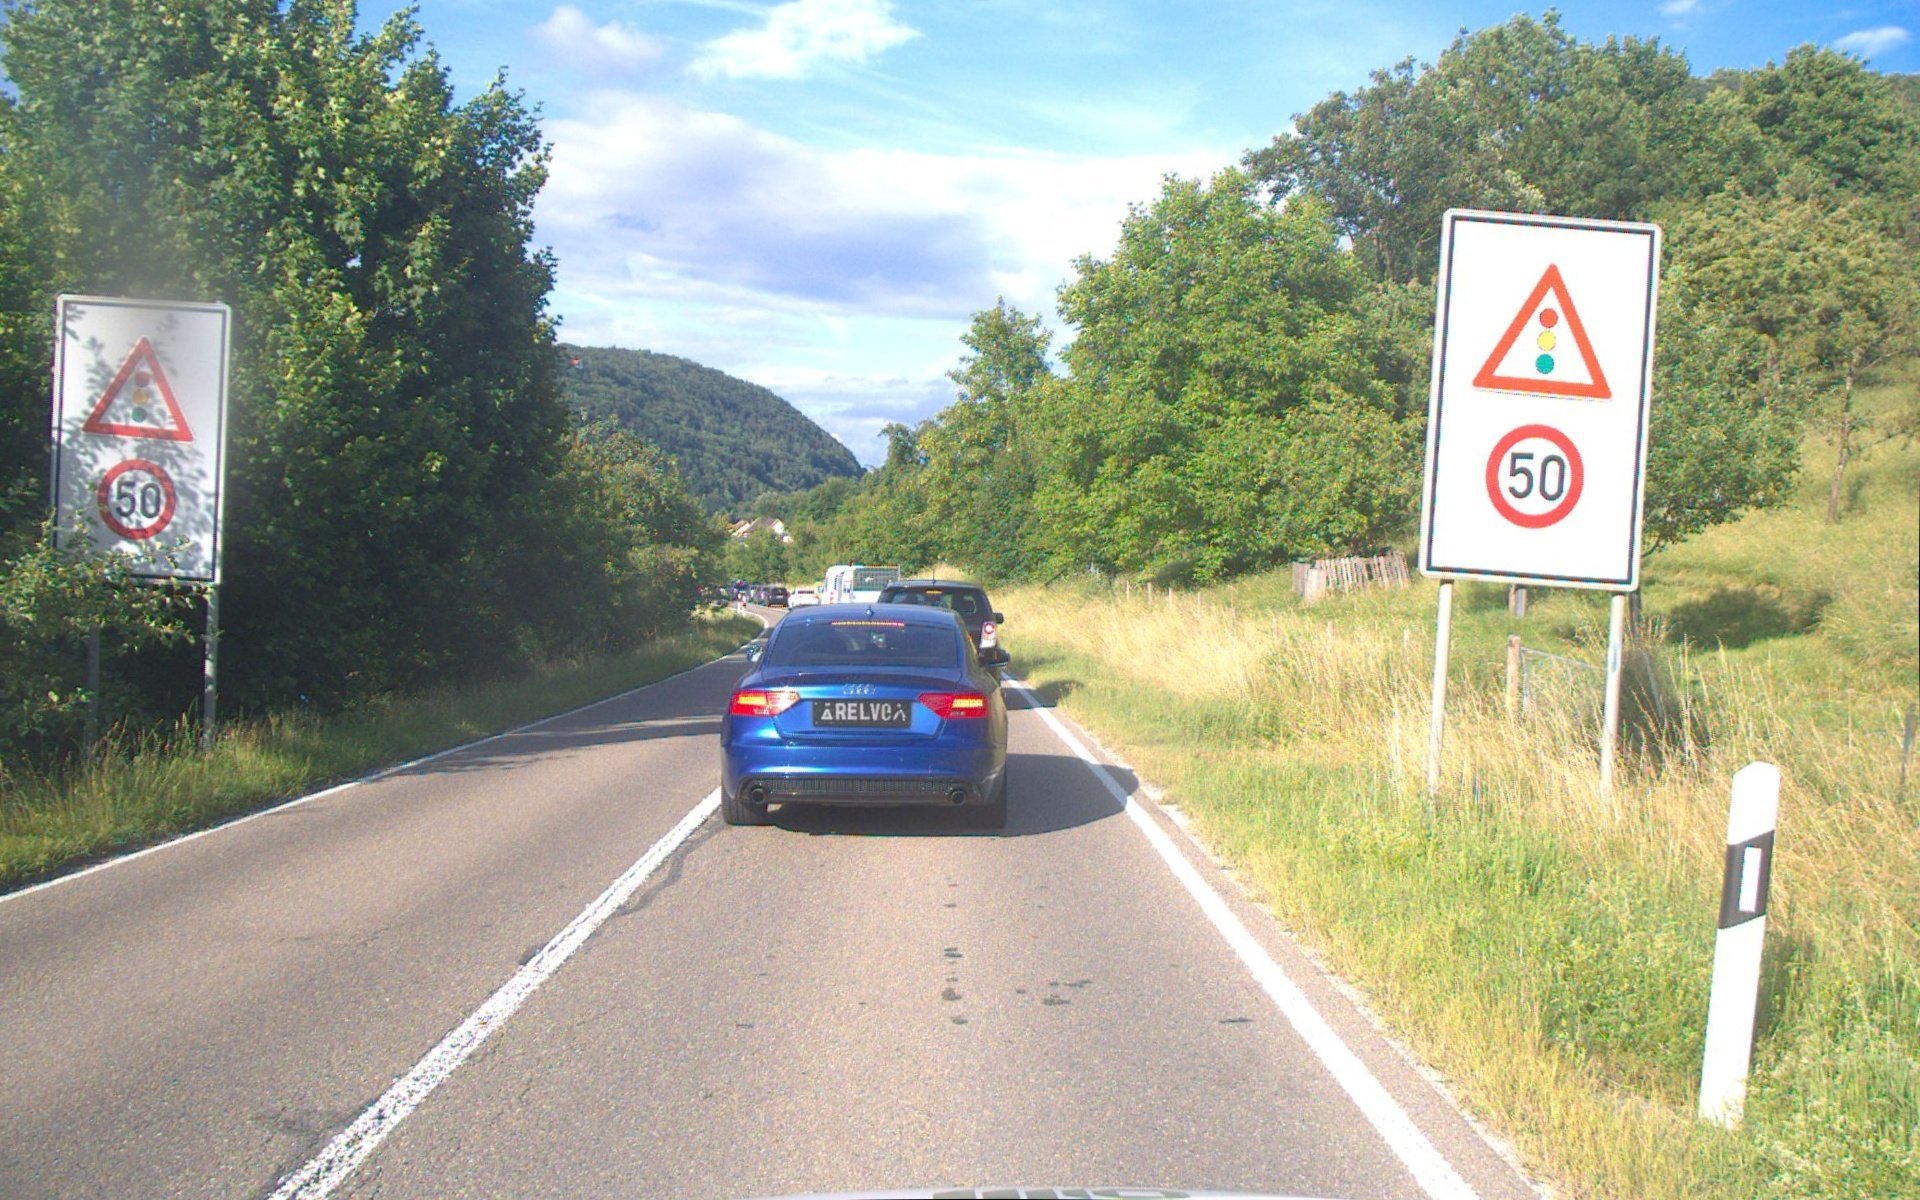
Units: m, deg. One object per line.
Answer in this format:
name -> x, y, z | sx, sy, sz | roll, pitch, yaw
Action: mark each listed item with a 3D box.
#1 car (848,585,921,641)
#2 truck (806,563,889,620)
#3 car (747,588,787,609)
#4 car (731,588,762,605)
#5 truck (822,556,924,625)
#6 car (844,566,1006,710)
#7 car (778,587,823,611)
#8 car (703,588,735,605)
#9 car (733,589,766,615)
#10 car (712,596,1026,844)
car -> -2.110, 0.361, 47.315 | 1.953, 1.508, 3.999 | 1, 0, -1
truck -> -5.913, -0.446, 84.942 | 2.814, 2.712, 10.613 | 1, 0, -12
car -> -14.175, -0.098, 121.575 | 1.965, 1.508, 3.974 | 1, 0, -21
car -> -18.799, -0.303, 145.552 | 1.962, 1.508, 3.980 | 1, 0, -17
truck -> -3.899, -0.407, 71.393 | 2.814, 2.712, 10.362 | 1, 0, -12
car -> -0.468, 0.471, 22.242 | 1.953, 1.732, 3.999 | 1, 0, -1
car -> -10.579, -0.053, 109.505 | 1.965, 1.508, 3.974 | 1, 0, -21
car -> -22.963, -0.329, 157.513 | 1.967, 1.508, 3.971 | 1, 0, -23
car -> -16.736, 0.170, 131.556 | 1.962, 2.049, 3.981 | 1, 0, -17
car -> -0.526, 0.690, 11.395 | 1.757, 1.383, 3.999 | 1, 0, 0
